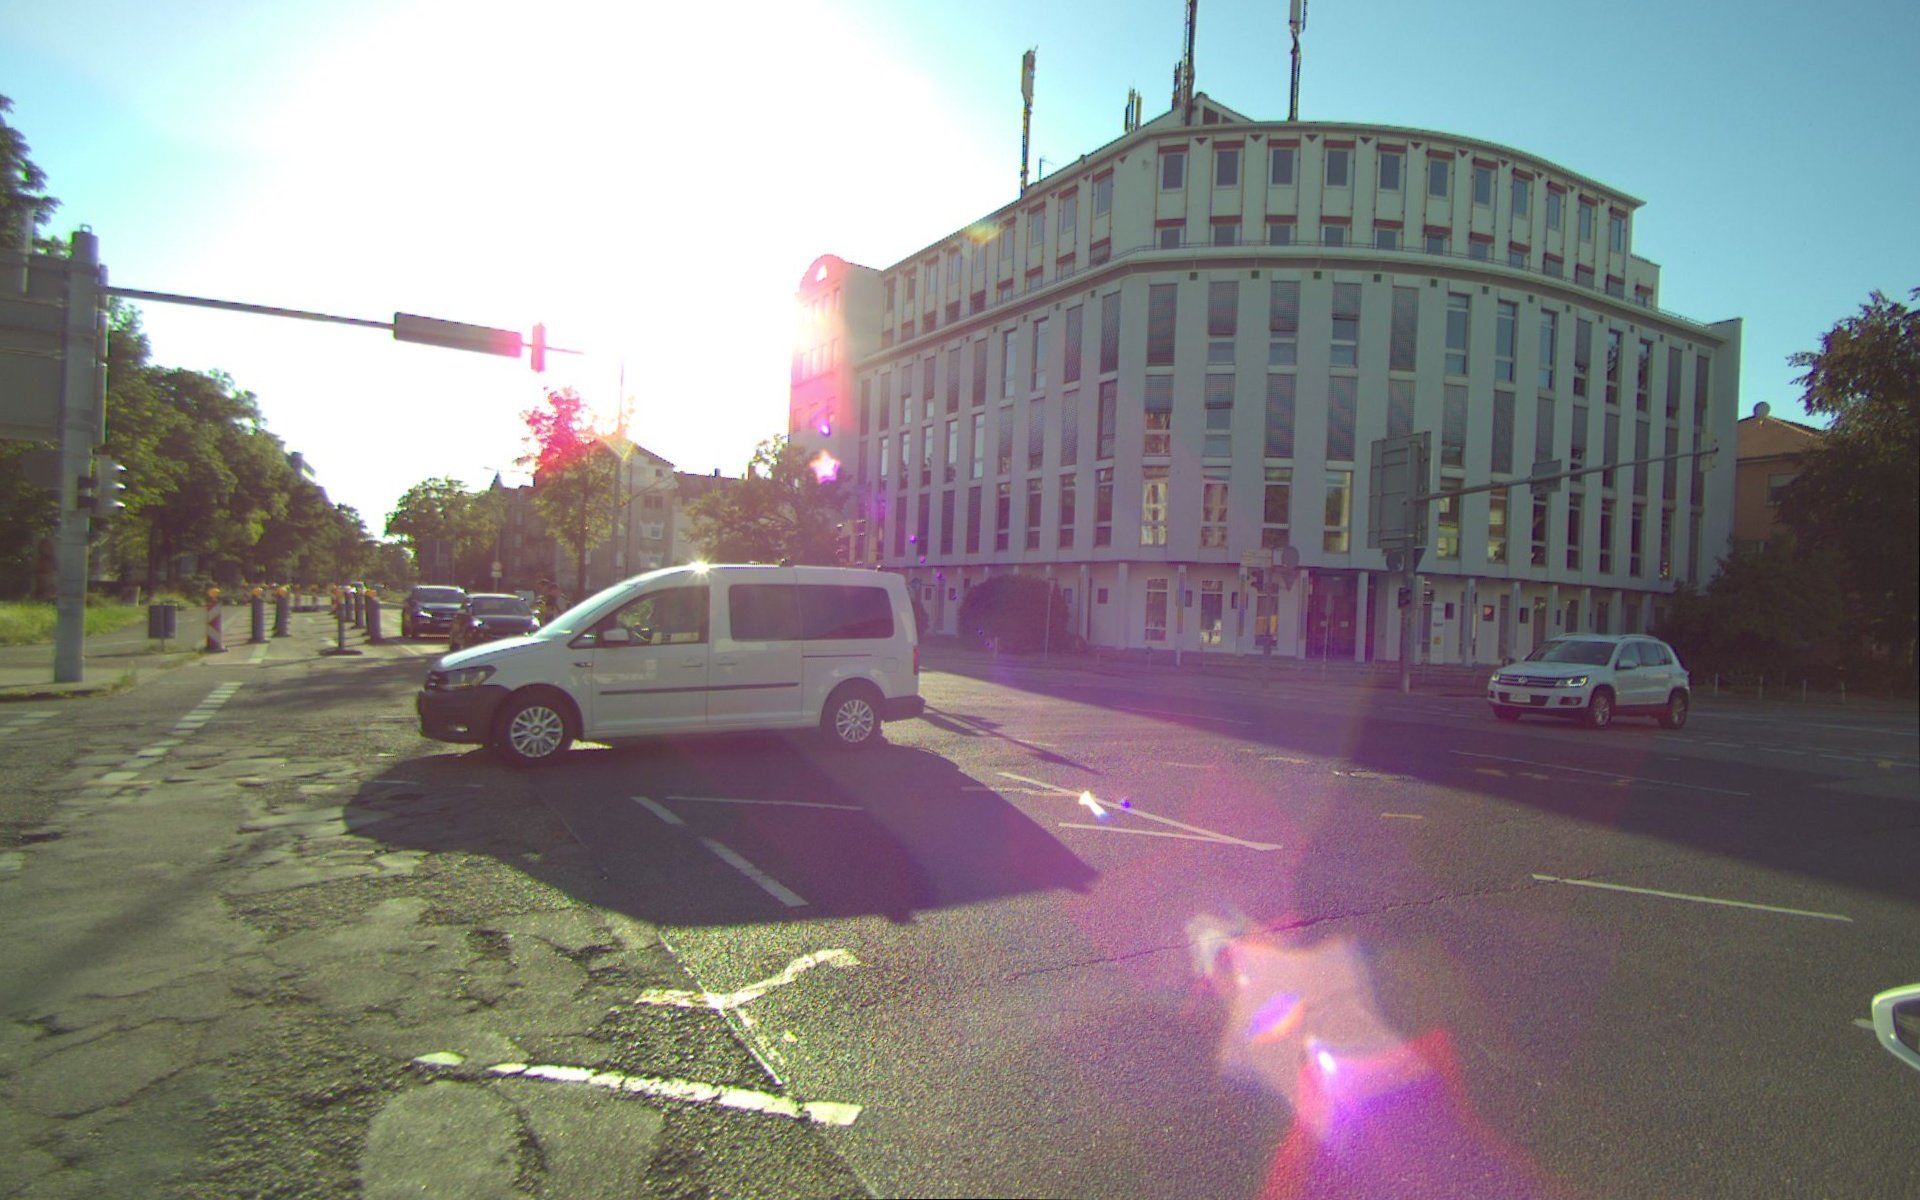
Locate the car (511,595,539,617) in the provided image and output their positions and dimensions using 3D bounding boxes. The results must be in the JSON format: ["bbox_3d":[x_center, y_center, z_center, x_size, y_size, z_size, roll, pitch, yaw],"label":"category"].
[{"bbox_3d":[-43.747,0.621,100.955,1.979,2.040,3.964,3,-1,-33],"label":"car"}]

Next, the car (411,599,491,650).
[{"bbox_3d":[-16.288,0.760,32.053,1.978,1.465,3.616,3,-1,-31],"label":"car"}]

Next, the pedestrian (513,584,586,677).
[{"bbox_3d":[-8.475,0.630,20.743,1.159,1.873,0.812,3,-1,-36],"label":"pedestrian"}]

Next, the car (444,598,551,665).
[{"bbox_3d":[-11.534,0.748,24.946,1.978,1.465,3.616,3,-1,-31],"label":"car"}]

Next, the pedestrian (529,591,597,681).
[{"bbox_3d":[-7.904,0.715,20.011,1.074,1.731,0.671,3,-1,-36],"label":"pedestrian"}]

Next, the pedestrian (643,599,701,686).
[{"bbox_3d":[-5.737,0.842,20.008,0.875,1.672,0.671,3,-1,-36],"label":"pedestrian"}]

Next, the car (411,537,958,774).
[{"bbox_3d":[-2.593,0.542,9.999,4.893,1.872,1.817,3,-1,-32],"label":"car"}]

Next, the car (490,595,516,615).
[{"bbox_3d":[-49.874,0.488,109.589,1.979,2.040,3.964,3,-1,-33],"label":"car"}]

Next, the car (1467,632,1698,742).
[{"bbox_3d":[11.397,1.537,18.313,4.393,1.729,1.817,3,-1,-32],"label":"car"}]

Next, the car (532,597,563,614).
[{"bbox_3d":[-38.898,0.507,94.781,1.979,1.505,3.964,3,-1,-33],"label":"car"}]
